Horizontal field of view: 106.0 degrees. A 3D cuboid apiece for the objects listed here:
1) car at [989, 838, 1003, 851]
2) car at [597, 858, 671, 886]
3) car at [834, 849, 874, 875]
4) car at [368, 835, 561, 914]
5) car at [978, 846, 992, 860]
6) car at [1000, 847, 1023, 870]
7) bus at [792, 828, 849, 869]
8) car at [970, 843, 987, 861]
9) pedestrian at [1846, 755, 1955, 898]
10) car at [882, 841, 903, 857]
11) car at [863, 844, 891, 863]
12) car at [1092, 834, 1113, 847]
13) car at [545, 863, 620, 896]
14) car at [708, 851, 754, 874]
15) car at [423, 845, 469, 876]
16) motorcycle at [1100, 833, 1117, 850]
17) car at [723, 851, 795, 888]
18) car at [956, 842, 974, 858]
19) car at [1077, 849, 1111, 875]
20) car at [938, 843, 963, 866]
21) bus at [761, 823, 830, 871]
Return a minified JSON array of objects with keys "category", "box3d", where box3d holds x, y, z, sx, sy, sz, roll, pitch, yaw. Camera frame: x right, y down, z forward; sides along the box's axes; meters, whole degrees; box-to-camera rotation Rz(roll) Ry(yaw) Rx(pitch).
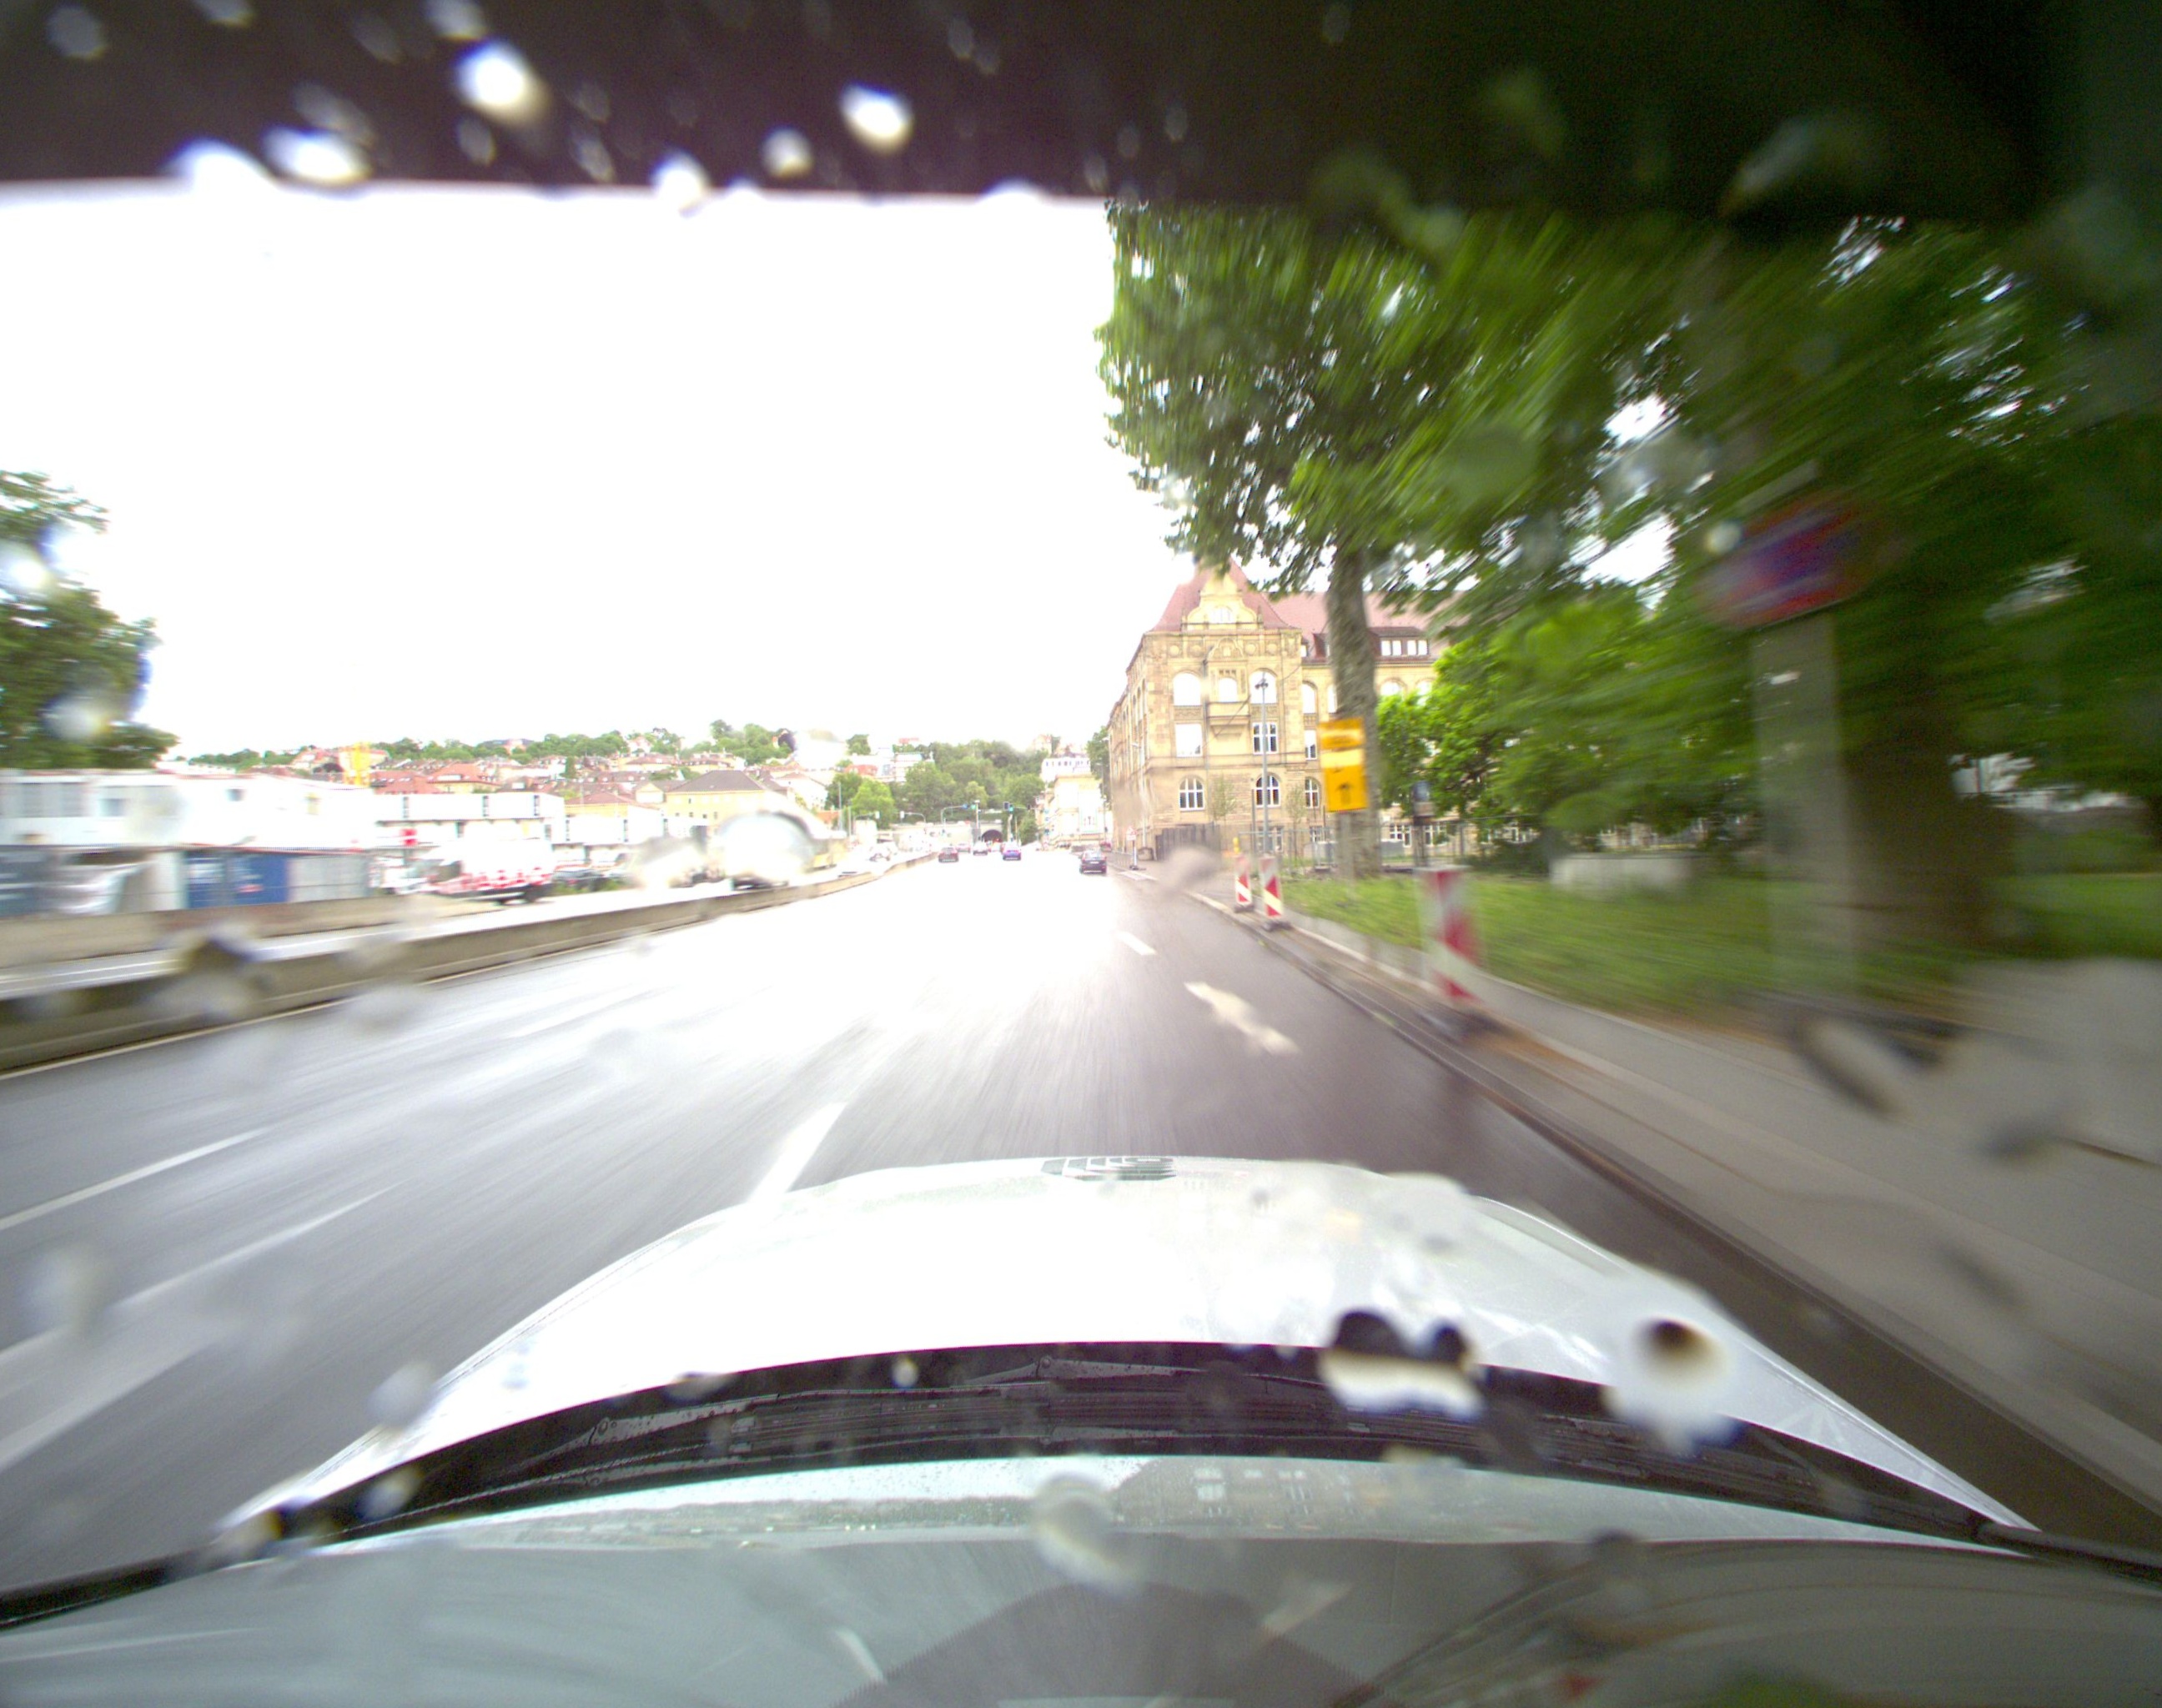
[{"category":"car","box3d":[-14.116,-1.594,134.649,1.993,2.013,3.987,-3,0,-9]},{"category":"car","box3d":[-27.792,1.120,50.817,1.754,1.565,4.687,-3,-1,3]},{"category":"car","box3d":[-13.932,0.509,50.202,1.706,1.489,3.444,-3,-1,-5]},{"category":"car","box3d":[-24.891,0.767,33.254,1.976,2.875,6.083,-3,-1,21]},{"category":"car","box3d":[-13.972,-0.154,118.427,1.992,1.869,3.989,-3,-1,-8]},{"category":"car","box3d":[-6.975,0.477,81.745,2.102,2.050,3.991,-3,-1,-6]},{"category":"bus","box3d":[-22.118,-0.440,69.566,2.700,3.151,9.130,-3,0,-6]},{"category":"car","box3d":[-12.623,-0.231,100.395,2.050,2.014,3.990,-3,-1,-7]},{"category":"pedestrian","box3d":[12.209,-0.392,12.128,1.058,2.013,1.026,-2,0,-41]},{"category":"car","box3d":[-23.435,-0.616,101.515,1.992,1.756,5.285,-3,-1,-7]},{"category":"car","box3d":[-20.317,-0.039,81.239,2.038,1.662,4.919,-3,-1,-8]},{"category":"car","box3d":[3.508,-2.221,131.049,1.976,2.013,4.021,-2,0,22]},{"category":"car","box3d":[-27.924,1.386,45.805,1.758,1.565,4.170,-2,1,-3]},{"category":"car","box3d":[-27.698,0.615,64.528,1.989,1.621,3.997,-2,1,-2]},{"category":"car","box3d":[-61.737,0.672,79.309,2.001,2.830,5.274,-2,-1,-21]},{"category":"motorcycle","box3d":[3.413,-1.563,101.898,1.791,2.013,3.810,-2,1,-2]},{"category":"car","box3d":[-15.998,0.725,40.768,2.079,1.630,4.842,-3,0,-6]},{"category":"car","box3d":[-15.472,-0.507,109.080,1.989,2.014,3.994,-3,-1,-4]},{"category":"car","box3d":[0.804,0.505,52.286,1.808,1.527,3.995,-3,-1,-3]},{"category":"car","box3d":[-12.355,0.053,77.433,2.014,2.014,3.991,-3,-1,-6]},{"category":"bus","box3d":[-21.063,-0.449,60.688,2.803,3.184,8.788,-3,0,-6]}]
